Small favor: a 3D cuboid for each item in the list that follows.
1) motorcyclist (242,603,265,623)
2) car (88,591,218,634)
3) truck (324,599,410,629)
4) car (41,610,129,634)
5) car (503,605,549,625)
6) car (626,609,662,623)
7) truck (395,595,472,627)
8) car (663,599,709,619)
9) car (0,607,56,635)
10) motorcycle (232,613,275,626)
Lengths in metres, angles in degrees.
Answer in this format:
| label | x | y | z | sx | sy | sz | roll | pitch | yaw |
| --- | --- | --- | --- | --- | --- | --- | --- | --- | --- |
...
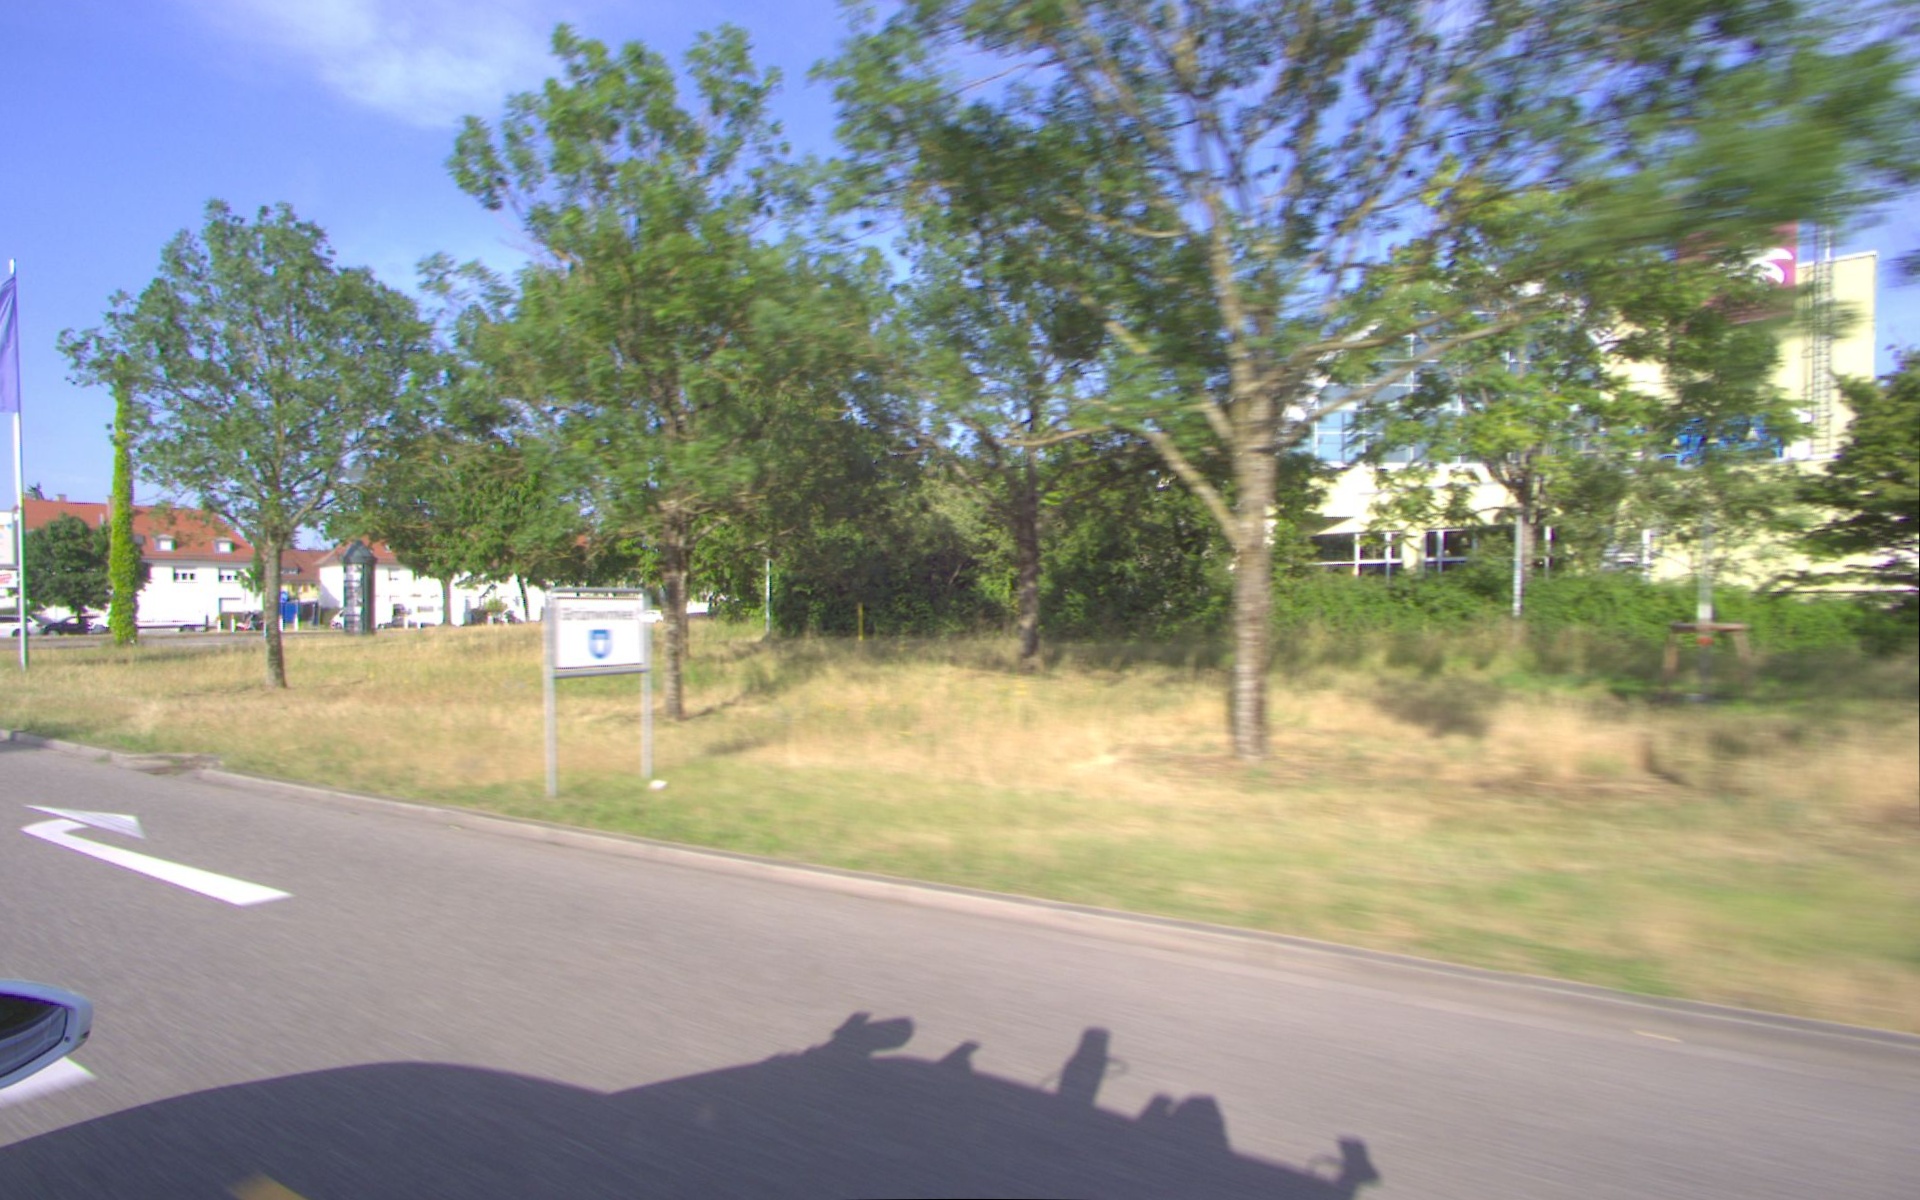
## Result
| label | x | y | z | sx | sy | sz | roll | pitch | yaw |
| --- | --- | --- | --- | --- | --- | --- | --- | --- | --- |
| motorcyclist | -47.573 | 0.874 | 67.431 | 0.671 | 1.370 | 1.062 | 0 | 0 | 37 |
| car | -51.325 | 0.776 | 63.830 | 1.975 | 2.617 | 6.185 | 0 | 0 | 38 |
| truck | -52.104 | 1.231 | 88.048 | 6.233 | 2.557 | 2.277 | 0 | 0 | 3 |
| car | -55.742 | 1.379 | 63.820 | 1.694 | 1.472 | 3.971 | 0 | 0 | 38 |
| car | -43.815 | 1.471 | 101.213 | 3.835 | 1.945 | 1.895 | -1 | 0 | -8 |
| car | -35.221 | 1.757 | 111.646 | 3.366 | 1.534 | 1.896 | -1 | 0 | -4 |
| truck | -48.926 | 1.047 | 93.179 | 5.963 | 2.892 | 1.895 | -1 | 0 | -9 |
| car | -31.970 | 1.027 | 116.887 | 4.884 | 2.261 | 1.999 | -1 | 0 | -8 |
| car | -55.793 | 1.214 | 57.841 | 1.817 | 1.583 | 5.075 | 0 | 0 | 38 |
| motorcycle | -47.572 | 1.311 | 67.442 | 0.682 | 0.878 | 2.263 | 0 | 0 | 36 |
